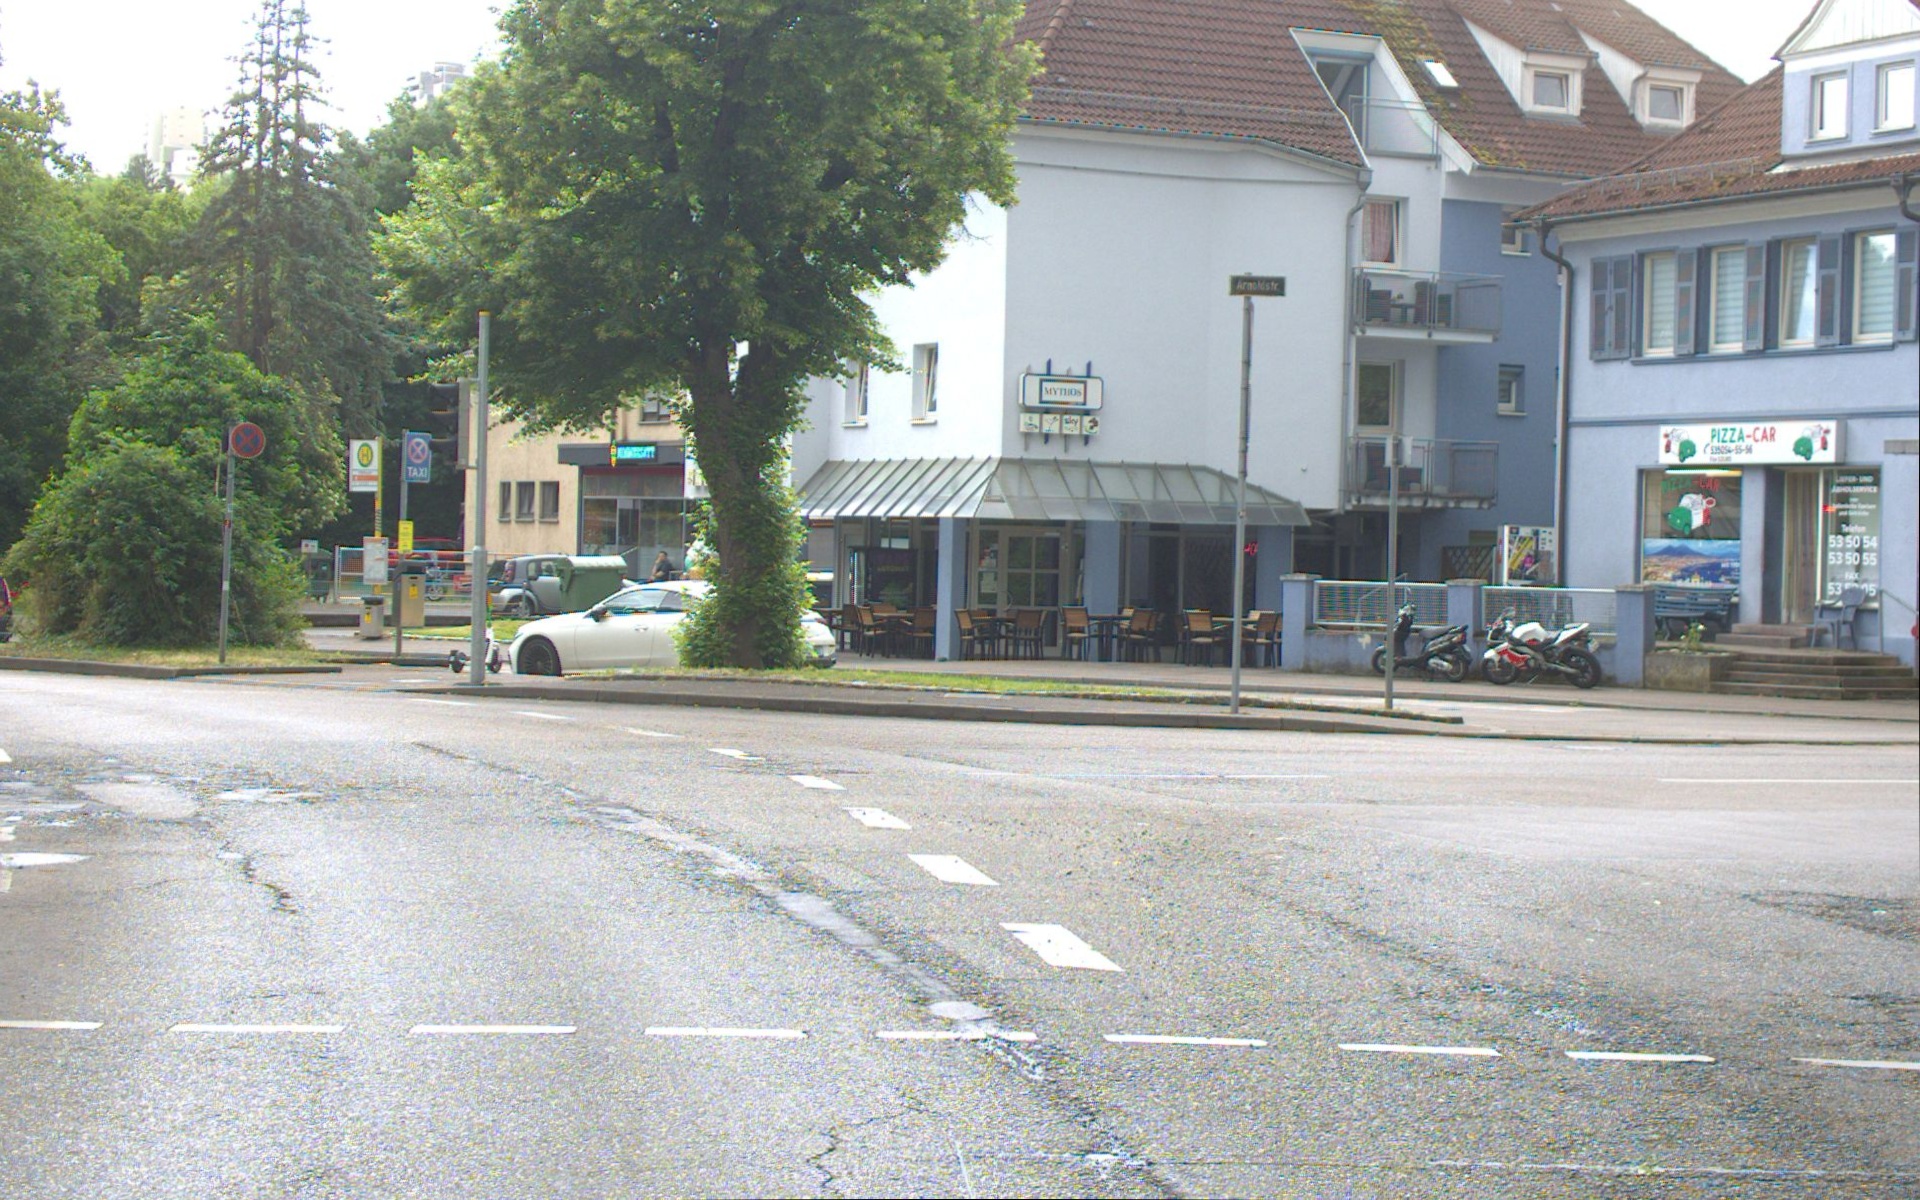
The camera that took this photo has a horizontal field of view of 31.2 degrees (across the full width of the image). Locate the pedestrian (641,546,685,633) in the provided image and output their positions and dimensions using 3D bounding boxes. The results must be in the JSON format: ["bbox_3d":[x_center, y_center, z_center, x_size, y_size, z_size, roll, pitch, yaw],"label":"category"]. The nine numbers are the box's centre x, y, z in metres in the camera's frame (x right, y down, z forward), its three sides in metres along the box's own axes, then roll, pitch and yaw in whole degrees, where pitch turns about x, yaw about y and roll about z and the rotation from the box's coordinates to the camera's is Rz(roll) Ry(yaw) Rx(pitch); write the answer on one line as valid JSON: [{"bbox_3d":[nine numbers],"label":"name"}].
[{"bbox_3d":[-6.996,-0.253,80.871,0.837,2.007,1.056,1,1,-14],"label":"pedestrian"}]

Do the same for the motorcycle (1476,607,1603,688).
[{"bbox_3d":[8.151,0.665,48.361,1.628,1.085,0.626,1,1,32],"label":"motorcycle"}]

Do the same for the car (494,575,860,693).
[{"bbox_3d":[-3.803,0.422,45.757,4.709,1.405,1.898,2,1,35],"label":"car"}]

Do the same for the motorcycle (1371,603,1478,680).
[{"bbox_3d":[6.775,0.593,50.131,1.458,1.085,0.523,1,1,35],"label":"motorcycle"}]

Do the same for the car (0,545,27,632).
[{"bbox_3d":[-16.418,-0.214,53.517,3.322,1.347,1.778,1,1,27],"label":"car"}]

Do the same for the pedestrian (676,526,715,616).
[{"bbox_3d":[-4.546,-0.499,59.196,0.543,1.554,0.467,0,0,13],"label":"pedestrian"}]

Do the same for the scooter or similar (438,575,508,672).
[{"bbox_3d":[-6.028,0.284,42.613,0.442,1.171,1.437,1,1,9],"label":"scooter or similar"}]

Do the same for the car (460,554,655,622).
[{"bbox_3d":[-8.856,-0.264,75.626,3.936,1.437,1.753,1,1,-20],"label":"car"}]
